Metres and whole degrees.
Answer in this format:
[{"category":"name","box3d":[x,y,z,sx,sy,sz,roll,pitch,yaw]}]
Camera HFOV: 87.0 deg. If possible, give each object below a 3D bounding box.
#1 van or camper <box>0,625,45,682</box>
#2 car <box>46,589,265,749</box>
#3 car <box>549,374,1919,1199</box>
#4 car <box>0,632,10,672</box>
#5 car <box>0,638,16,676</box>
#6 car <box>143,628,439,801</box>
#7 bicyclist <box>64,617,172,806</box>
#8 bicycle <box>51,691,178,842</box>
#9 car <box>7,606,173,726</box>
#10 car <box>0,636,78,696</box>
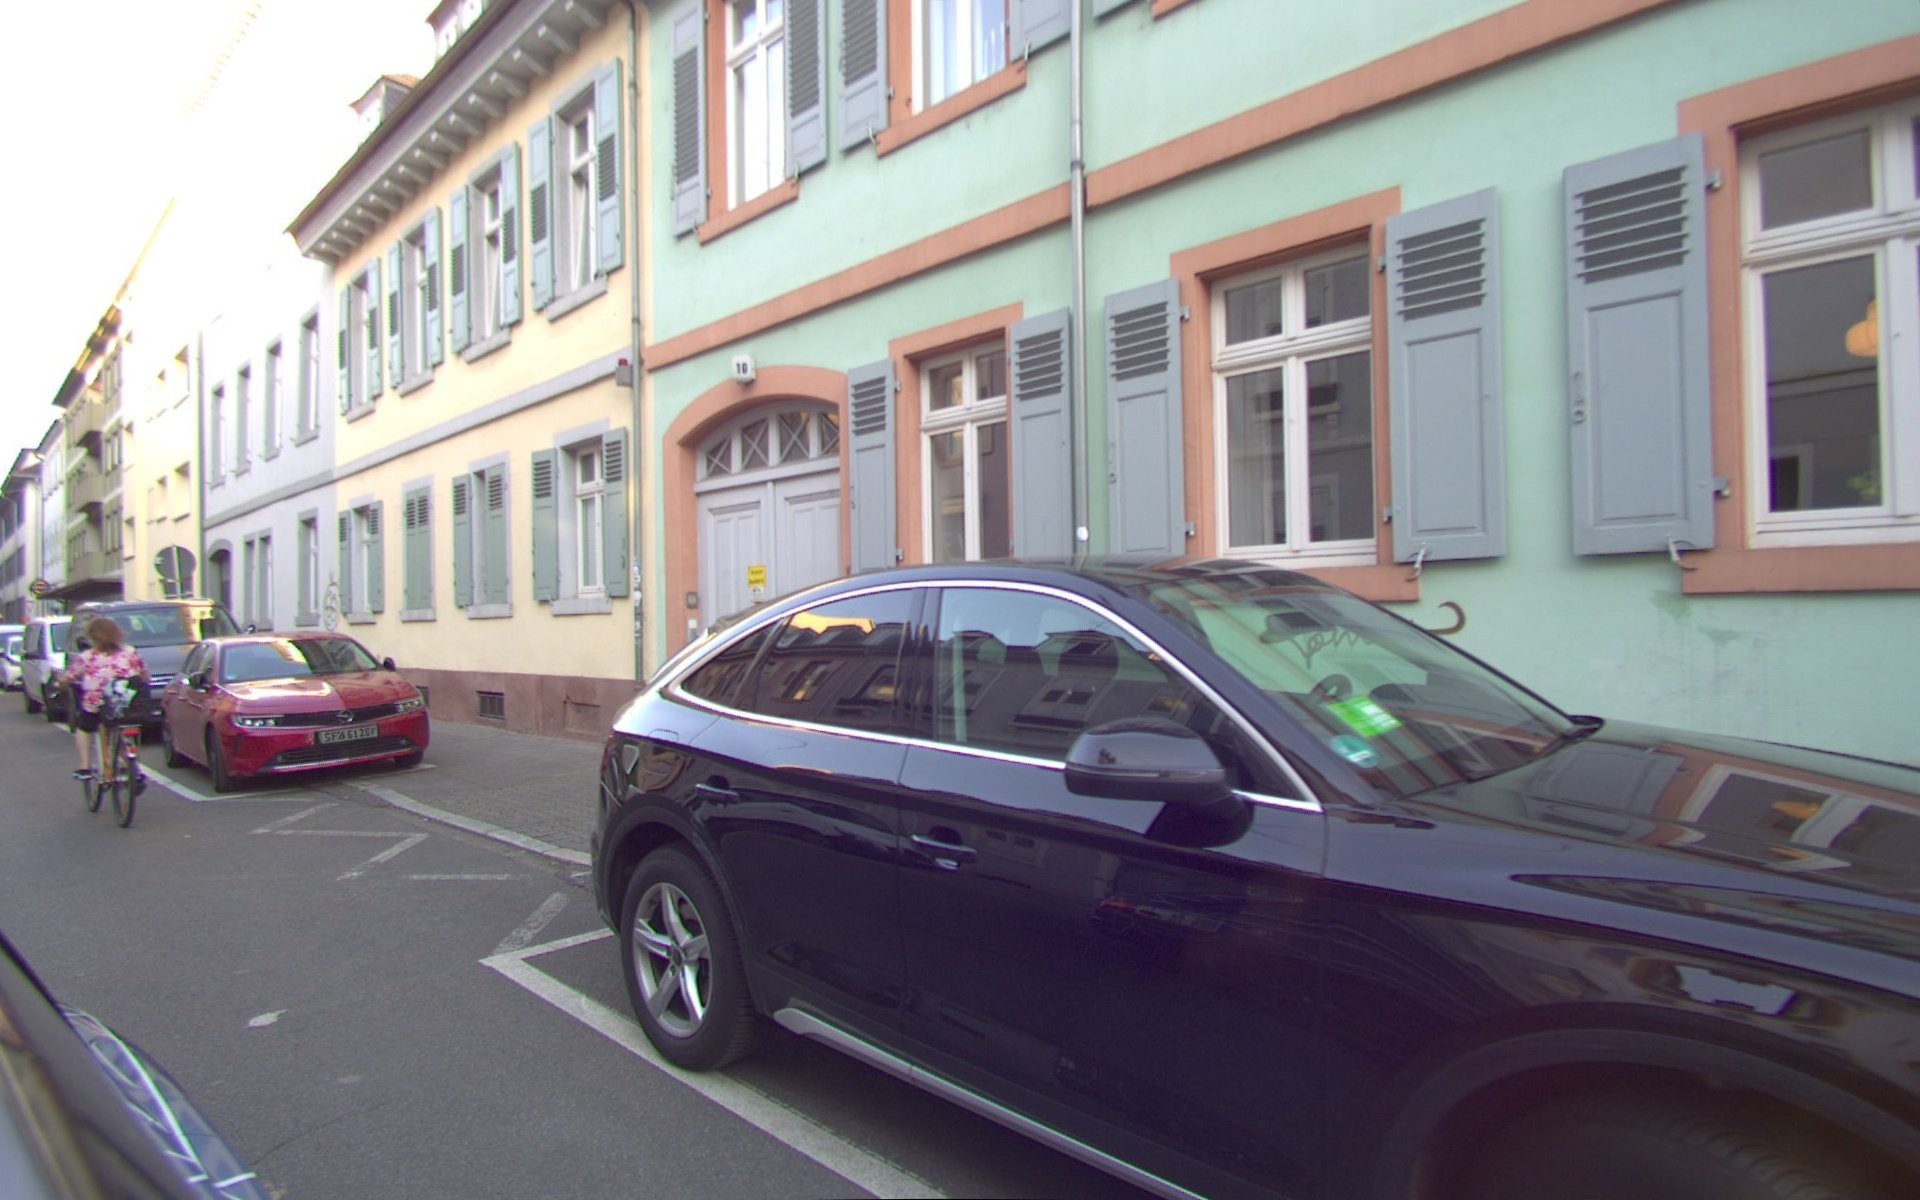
[{"category":"van or camper","box3d":[-32.882,1.817,34.890,4.180,1.862,1.752,-2,-2,45]},{"category":"car","box3d":[-12.165,0.951,15.178,4.813,2.029,1.842,-2,-2,42]},{"category":"car","box3d":[0.656,0.630,2.869,1.782,1.689,4.492,0,-2,-45]},{"category":"car","box3d":[-45.985,2.445,47.477,4.510,1.825,1.753,-2,-1,42]},{"category":"car","box3d":[-38.723,2.265,40.075,3.980,1.426,1.607,-2,-1,42]},{"category":"car","box3d":[-7.185,1.042,10.677,4.264,1.412,1.745,-2,-1,44]},{"category":"bicyclist","box3d":[-6.567,0.833,7.890,0.598,1.380,0.621,0,-1,-44]},{"category":"bicycle","box3d":[-6.683,1.246,7.964,0.606,0.939,1.887,0,-1,-45]},{"category":"car","box3d":[-16.875,1.191,19.535,5.105,2.029,1.842,-2,-2,42]},{"category":"car","box3d":[-26.103,1.801,28.402,3.521,1.459,1.644,-2,2,43]}]
